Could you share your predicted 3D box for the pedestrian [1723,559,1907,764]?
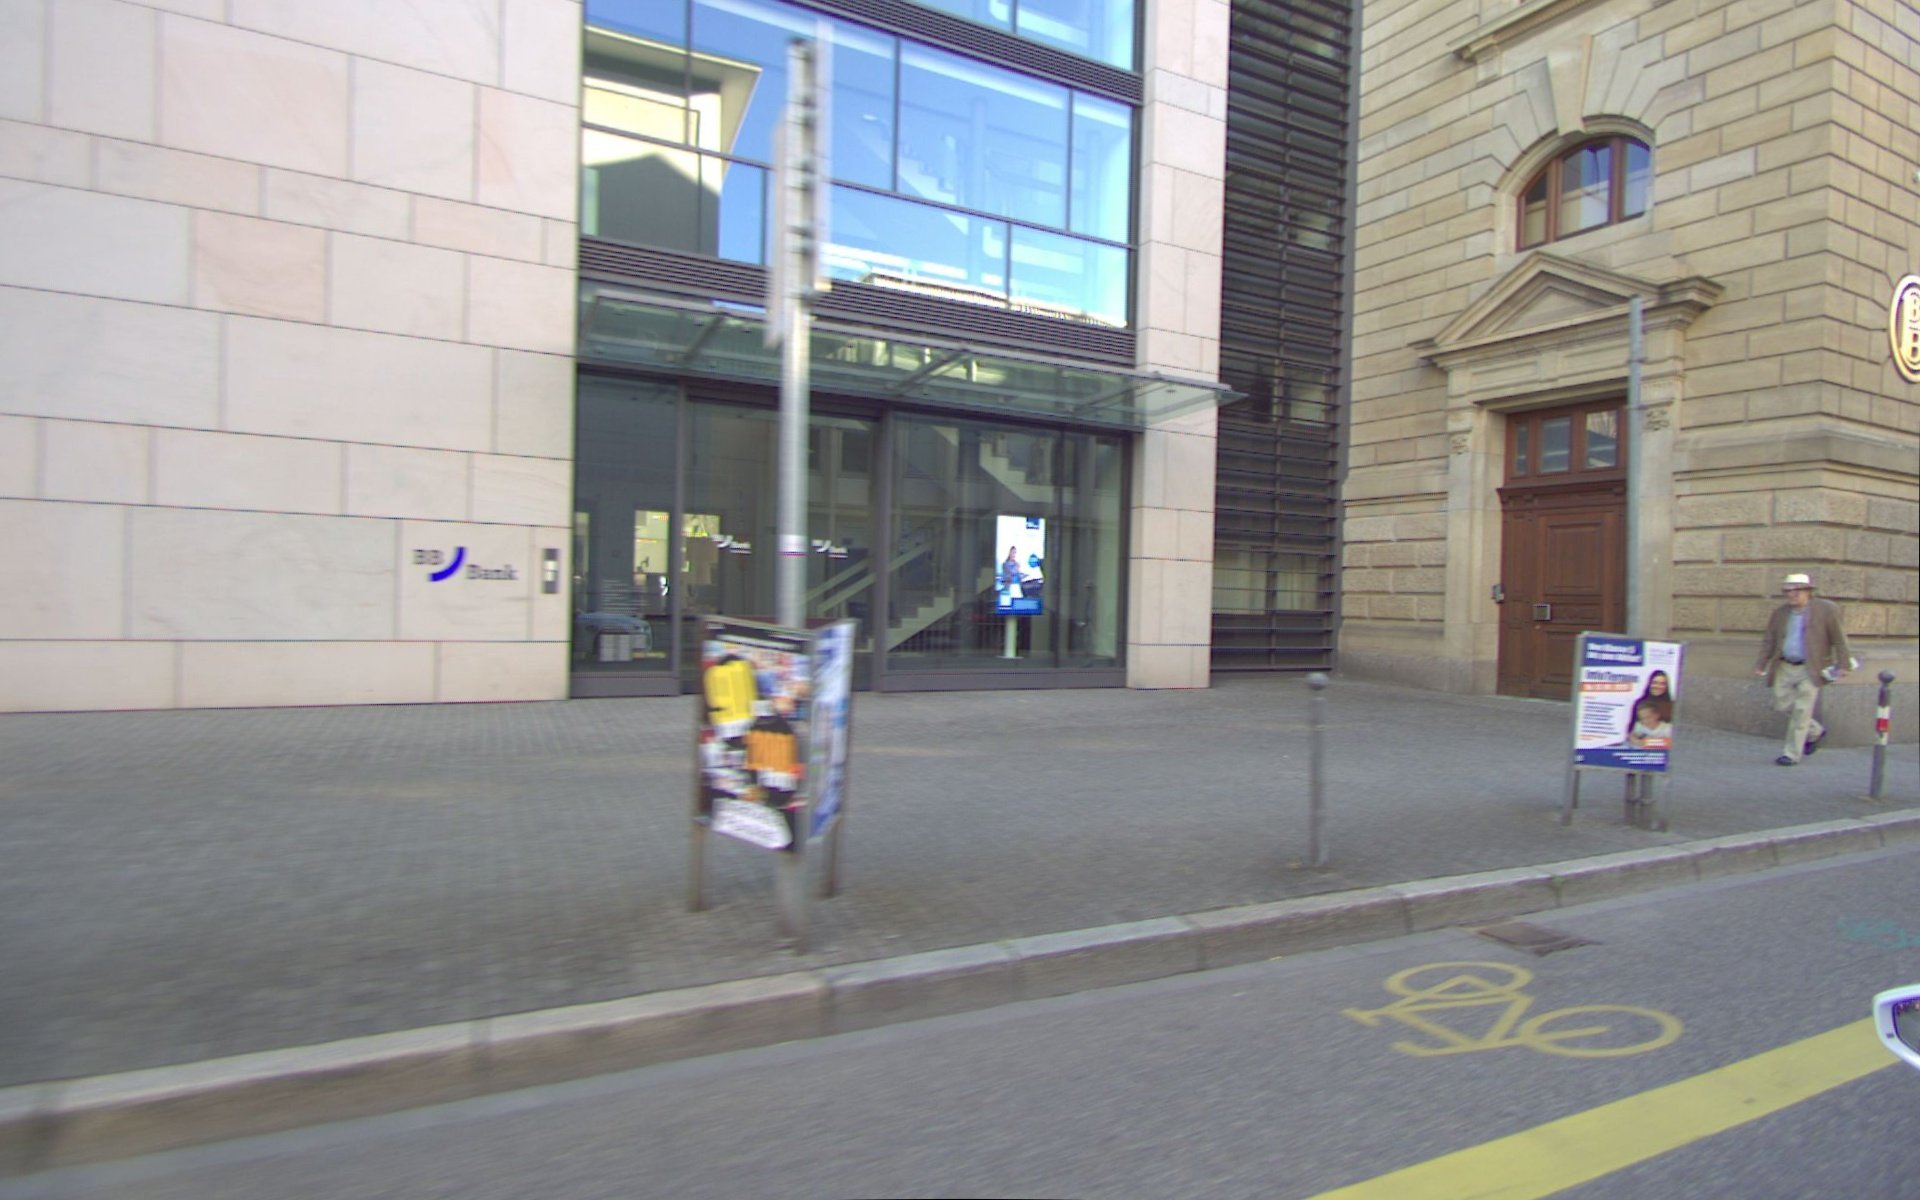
[{"bbox_3d":[8.156,0.556,9.604,1.058,1.824,0.839,2,3,-24],"label":"pedestrian"}]
